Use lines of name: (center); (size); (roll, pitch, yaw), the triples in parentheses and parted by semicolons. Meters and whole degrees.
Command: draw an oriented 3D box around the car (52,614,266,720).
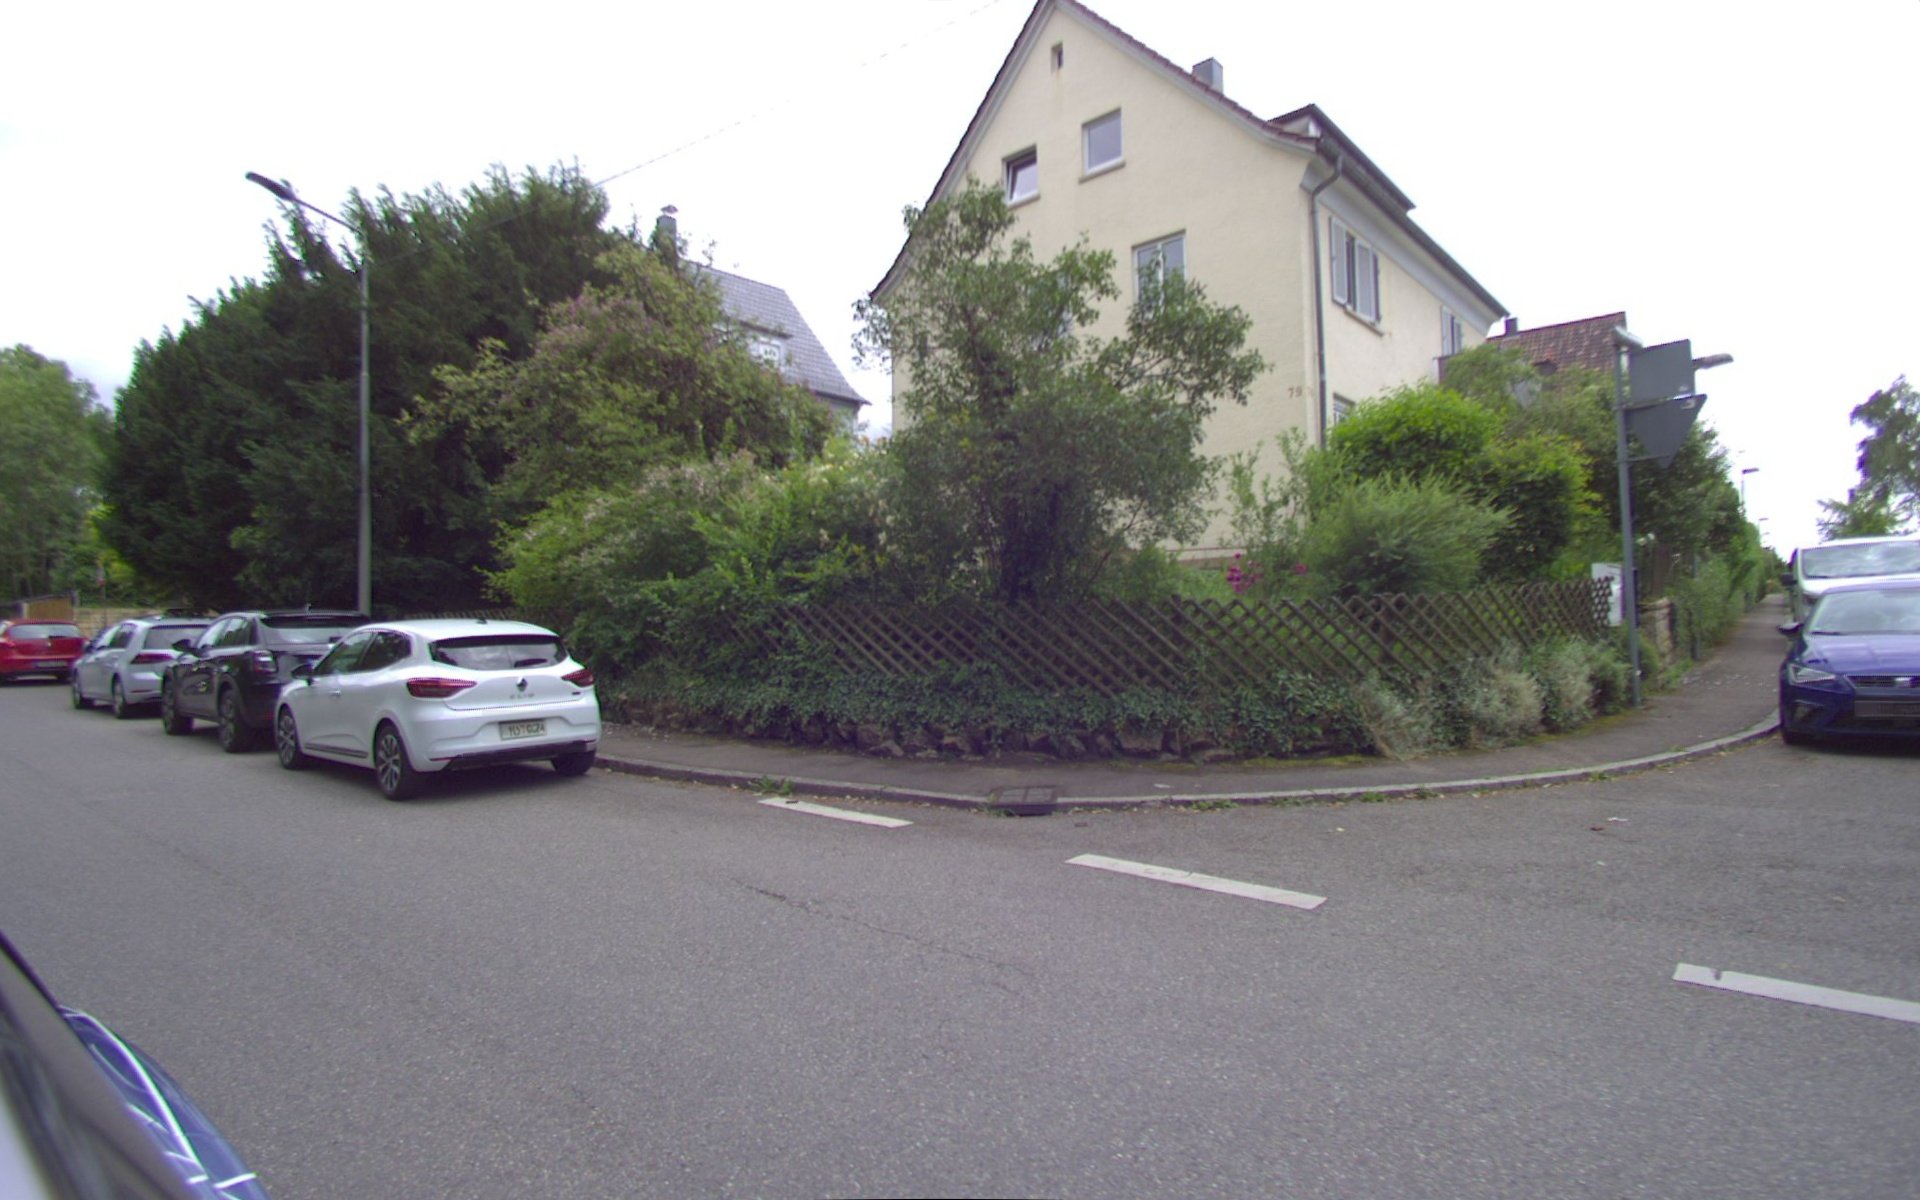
car: (-12.821, 0.976, 16.106); (4.318, 1.450, 1.766); (-1, -1, 39)

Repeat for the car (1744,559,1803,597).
car: (39.165, -1.039, 48.800); (1.835, 1.741, 3.954); (0, 0, 33)

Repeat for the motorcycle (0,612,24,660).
motorcycle: (-32.952, 1.241, 34.999); (1.908, 1.594, 0.479); (-1, -1, 35)

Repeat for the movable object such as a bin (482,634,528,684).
movable object such as a bin: (-8.178, 1.063, 18.209); (0.455, 0.865, 0.598); (-4, -2, 40)

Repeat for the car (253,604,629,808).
car: (-5.000, 0.825, 9.519); (4.012, 1.511, 1.765); (-1, -1, 40)

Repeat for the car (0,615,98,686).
car: (-20.862, 1.092, 22.665); (3.783, 1.450, 1.719); (-1, -1, 39)

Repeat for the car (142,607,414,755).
car: (-8.442, 0.867, 12.401); (4.012, 1.511, 1.765); (-1, -1, 40)

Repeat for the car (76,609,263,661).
car: (-25.989, 1.118, 33.408); (1.889, 1.397, 4.560); (-2, 1, 40)

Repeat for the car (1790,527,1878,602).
car: (28.942, -1.166, 33.536); (1.929, 2.148, 4.059); (-7, -3, 41)

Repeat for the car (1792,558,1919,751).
car: (9.045, 0.377, 9.396); (1.722, 1.494, 3.943); (-2, 1, 44)

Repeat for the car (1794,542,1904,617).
car: (23.489, -0.558, 26.811); (1.929, 1.669, 4.059); (-7, -3, 41)

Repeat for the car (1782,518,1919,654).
car: (15.994, -0.277, 17.905); (1.929, 2.013, 4.867); (-7, -3, 41)
